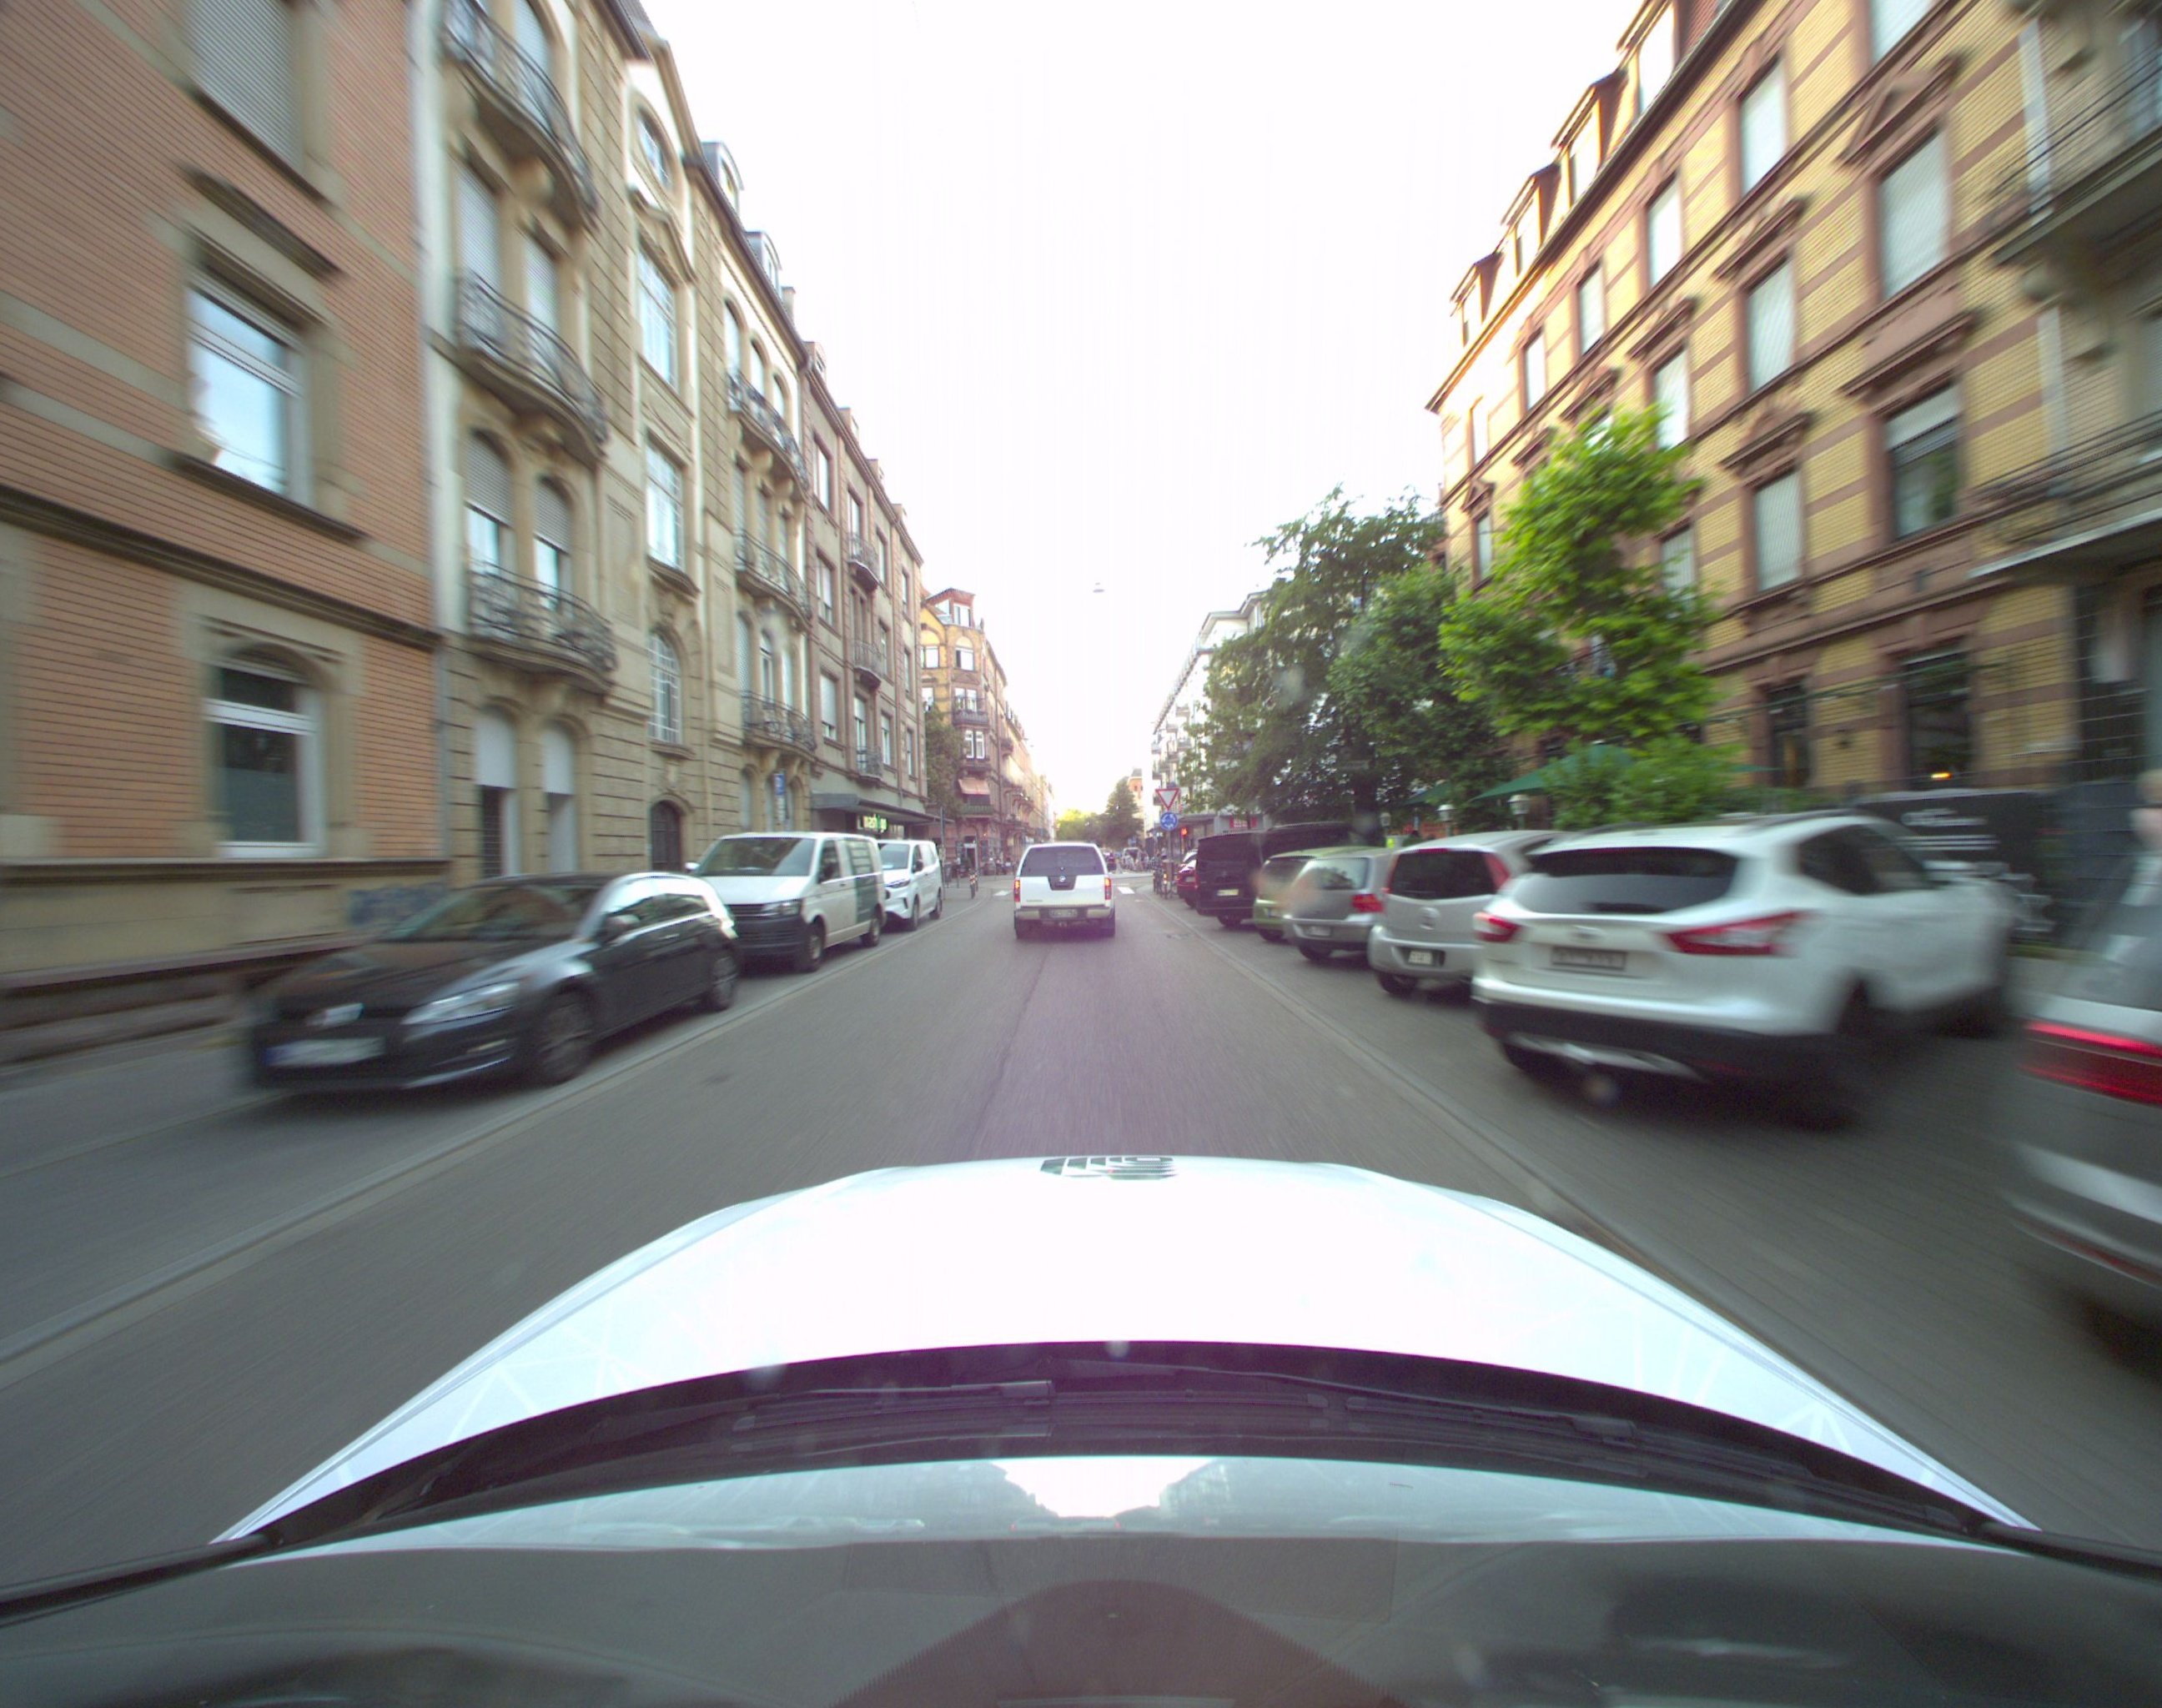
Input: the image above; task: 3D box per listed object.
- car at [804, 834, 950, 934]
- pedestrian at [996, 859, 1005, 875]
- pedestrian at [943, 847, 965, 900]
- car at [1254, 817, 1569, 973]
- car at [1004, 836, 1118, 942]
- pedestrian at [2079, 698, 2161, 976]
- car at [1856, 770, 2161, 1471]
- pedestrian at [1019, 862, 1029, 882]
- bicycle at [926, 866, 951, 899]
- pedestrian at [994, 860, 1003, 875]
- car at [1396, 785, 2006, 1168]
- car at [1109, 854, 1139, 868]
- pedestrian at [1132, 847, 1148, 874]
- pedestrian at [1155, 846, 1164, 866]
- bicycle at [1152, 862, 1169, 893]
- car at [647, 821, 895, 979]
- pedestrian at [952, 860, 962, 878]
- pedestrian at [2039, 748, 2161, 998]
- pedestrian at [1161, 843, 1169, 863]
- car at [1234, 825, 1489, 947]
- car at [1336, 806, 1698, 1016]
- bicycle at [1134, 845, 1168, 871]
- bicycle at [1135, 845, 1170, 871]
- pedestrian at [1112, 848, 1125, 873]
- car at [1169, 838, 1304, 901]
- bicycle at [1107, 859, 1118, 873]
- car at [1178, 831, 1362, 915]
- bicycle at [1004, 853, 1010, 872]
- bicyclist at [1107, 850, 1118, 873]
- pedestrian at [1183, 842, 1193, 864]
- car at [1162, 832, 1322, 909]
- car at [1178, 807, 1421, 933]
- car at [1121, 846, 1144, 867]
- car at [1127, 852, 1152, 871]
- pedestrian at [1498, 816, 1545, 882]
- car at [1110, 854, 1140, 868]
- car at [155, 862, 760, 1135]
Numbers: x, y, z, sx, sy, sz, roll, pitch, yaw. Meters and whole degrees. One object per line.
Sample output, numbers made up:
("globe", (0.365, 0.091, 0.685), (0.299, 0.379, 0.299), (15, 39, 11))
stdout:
("car", (-4.445, 0.604, 18.688), (2.103, 1.921, 5.023), (-2, 0, -1))
("pedestrian", (-6.452, 1.041, 65.374), (0.647, 1.286, 0.539), (-1, -1, -4))
("pedestrian", (-4.445, 0.669, 28.644), (0.534, 1.824, 0.998), (-1, -1, 4))
("car", (4.563, 0.444, 11.086), (4.124, 1.551, 1.800), (-5, 1, -31))
("car", (-0.237, 0.631, 16.645), (1.930, 1.810, 5.004), (-1, -1, 3))
("pedestrian", (8.134, -0.126, 6.030), (0.621, 2.014, 0.655), (-1, -1, 0))
("car", (4.495, 0.487, 2.571), (4.181, 1.590, 1.867), (-5, 1, -31))
("pedestrian", (-4.727, 1.461, 67.605), (0.796, 1.621, 0.944), (-1, -1, -2))
("bicycle", (-5.163, 1.031, 29.673), (0.469, 1.142, 1.786), (-1, -1, 4))
("pedestrian", (-6.491, 1.076, 64.187), (0.647, 1.191, 0.539), (-1, -1, -4))
("car", (4.287, 0.488, 5.490), (4.123, 1.590, 1.801), (-5, 1, -31))
("car", (5.877, 0.956, 112.419), (3.975, 1.750, 1.840), (-1, -1, -1))
("pedestrian", (4.163, 0.454, 57.736), (0.909, 1.885, 0.610), (0, -1, -31))
("pedestrian", (6.474, 0.166, 67.300), (0.717, 1.663, 0.702), (-1, -1, 0))
("bicycle", (2.841, 0.837, 29.090), (0.363, 1.063, 1.550), (-1, -1, -3))
("car", (-4.422, 0.580, 12.582), (1.830, 1.921, 4.846), (-2, 0, 1))
("pedestrian", (-8.834, 1.031, 57.832), (0.451, 1.262, 0.578), (-1, -1, 25))
("pedestrian", (7.494, 0.128, 5.775), (0.618, 1.681, 0.658), (-1, -1, 16))
("pedestrian", (7.911, -0.104, 76.684), (0.717, 1.906, 0.702), (-1, -1, 0))
("car", (4.793, 0.452, 13.767), (4.124, 1.551, 1.800), (-5, 1, -31))
("car", (4.782, 0.431, 8.702), (4.129, 1.590, 1.798), (-5, 1, -38))
("bicycle", (5.444, 0.315, 63.410), (2.638, 2.014, 0.638), (-1, -1, 1))
("bicycle", (5.477, 0.305, 62.596), (2.638, 2.014, 0.638), (-1, -1, 1))
("pedestrian", (2.644, 0.475, 57.066), (0.900, 1.736, 0.616), (-1, -1, 2))
("car", (4.927, 0.447, 25.710), (4.063, 1.627, 1.676), (-4, 1, -32))
("bicycle", (2.667, 0.990, 68.818), (0.834, 1.171, 1.938), (-1, -1, 5))
("car", (4.674, 0.417, 19.939), (4.241, 1.622, 1.913), (-5, 1, -33))
("bicycle", (-5.920, 0.680, 65.470), (0.423, 1.442, 1.902), (-1, -1, -4))
("bicyclist", (2.657, 0.605, 68.912), (0.834, 1.944, 0.786), (-1, -1, 5))
("pedestrian", (8.292, -0.092, 62.954), (0.717, 1.663, 0.703), (-1, -1, 3))
("car", (4.484, 0.417, 22.372), (4.246, 1.688, 1.911), (-5, 1, -38))
("car", (4.729, 0.237, 17.105), (5.464, 2.072, 1.911), (-5, 1, -38))
("car", (4.955, 0.275, 78.852), (1.936, 1.934, 3.999), (-1, -1, 0))
("car", (5.019, 0.633, 70.068), (1.829, 1.542, 3.999), (-1, -1, 0))
("pedestrian", (9.296, -0.100, 17.211), (0.586, 1.366, 0.696), (-1, -1, -3))
("car", (5.916, 0.930, 110.182), (3.975, 1.750, 1.840), (-1, -1, -1))
("car", (-4.389, 0.844, 6.759), (1.832, 1.471, 4.170), (-2, 0, -2))
